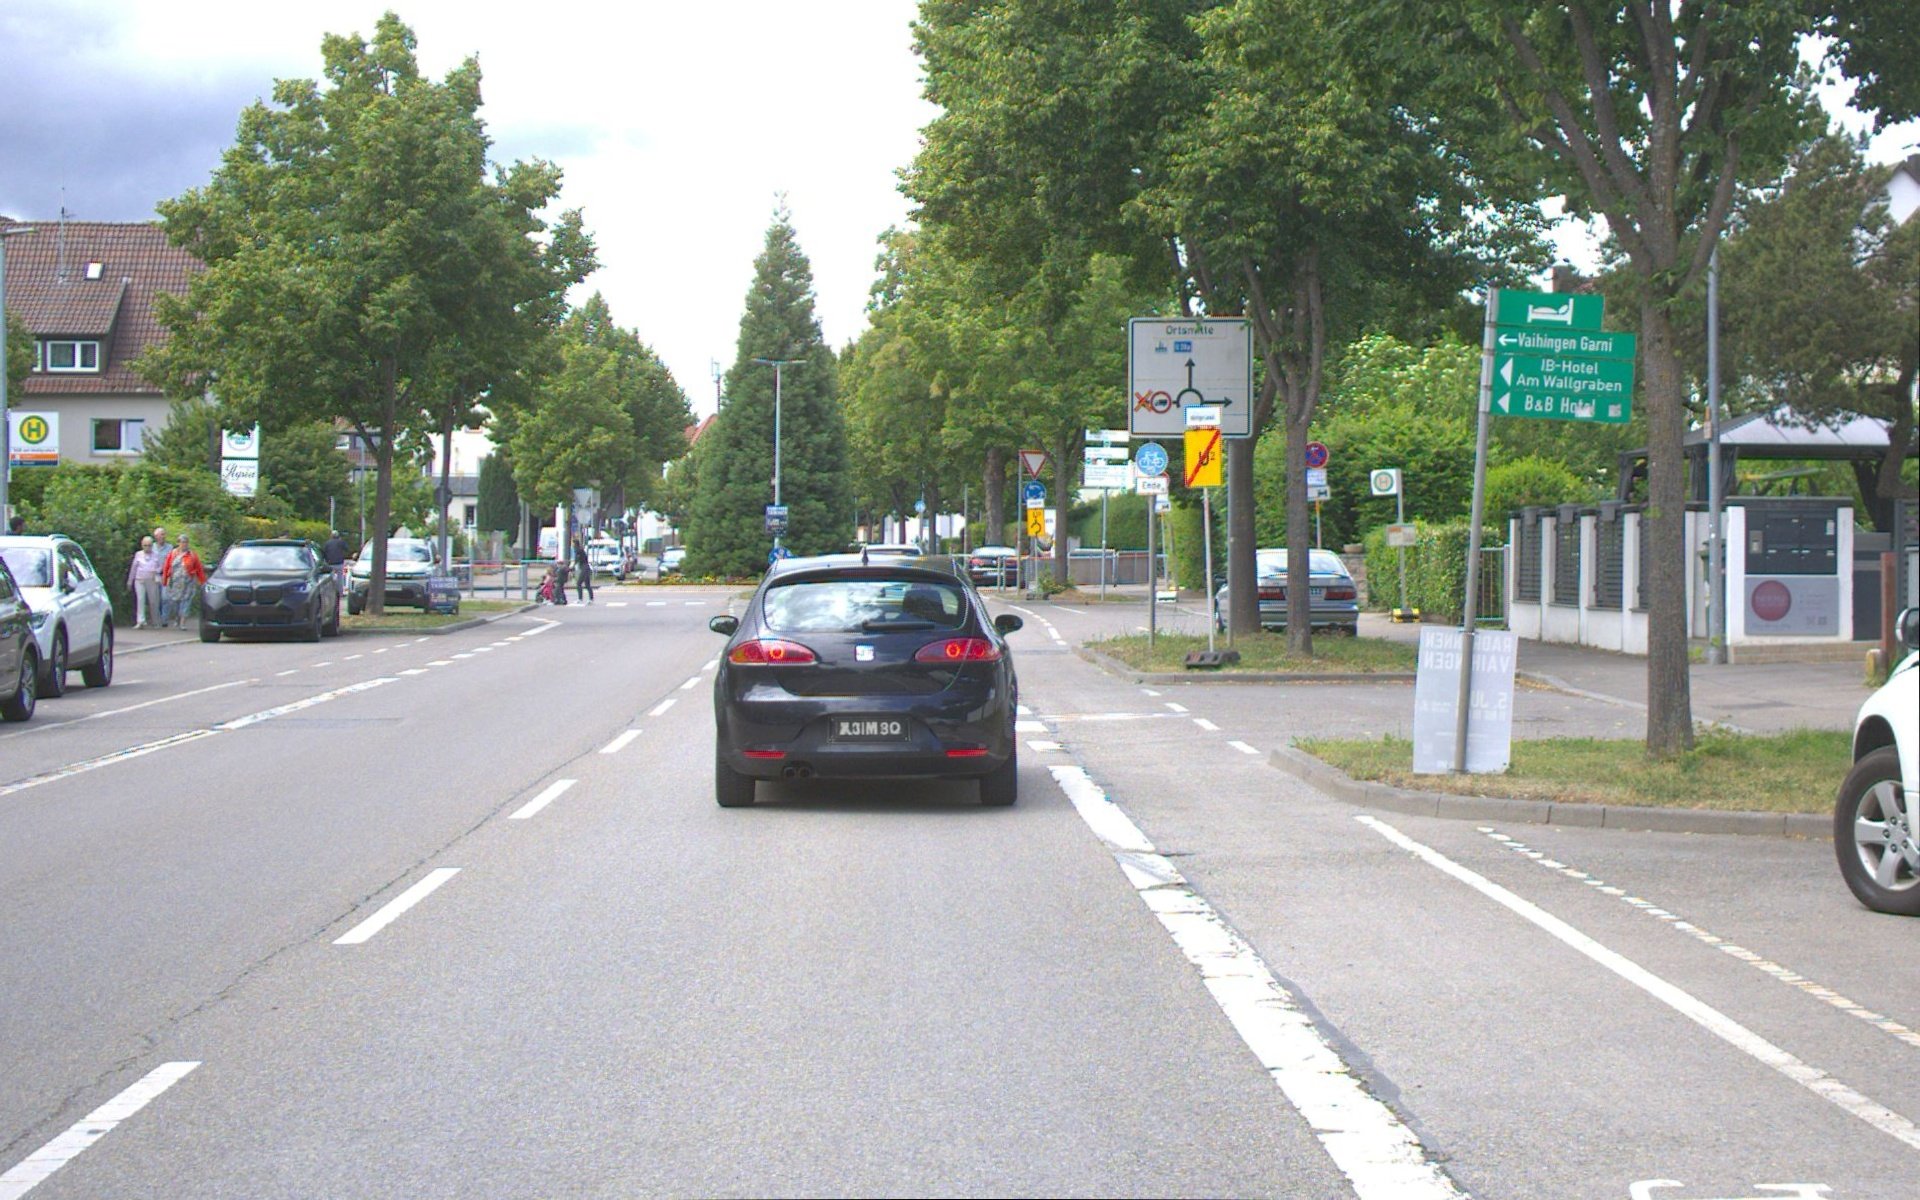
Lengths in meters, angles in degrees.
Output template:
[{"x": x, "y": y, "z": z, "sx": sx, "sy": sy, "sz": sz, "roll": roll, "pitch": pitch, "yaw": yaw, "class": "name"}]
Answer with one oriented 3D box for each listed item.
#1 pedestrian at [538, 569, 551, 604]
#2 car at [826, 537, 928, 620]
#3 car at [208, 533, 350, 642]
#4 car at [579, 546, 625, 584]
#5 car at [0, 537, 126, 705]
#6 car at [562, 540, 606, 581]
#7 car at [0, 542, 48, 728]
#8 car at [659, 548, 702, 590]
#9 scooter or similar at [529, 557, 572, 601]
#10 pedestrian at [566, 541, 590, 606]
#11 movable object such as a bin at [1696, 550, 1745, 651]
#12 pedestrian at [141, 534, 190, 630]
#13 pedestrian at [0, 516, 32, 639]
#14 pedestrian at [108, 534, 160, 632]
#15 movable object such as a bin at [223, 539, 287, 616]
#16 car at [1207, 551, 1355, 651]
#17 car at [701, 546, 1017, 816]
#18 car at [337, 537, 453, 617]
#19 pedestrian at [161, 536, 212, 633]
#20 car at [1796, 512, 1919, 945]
[{"x": -10.567, "y": -0.351, "z": 87.444, "sx": 0.238, "sy": 0.891, "sz": 0.260, "roll": 0, "pitch": 1, "yaw": -27, "class": "pedestrian"}, {"x": -1.650, "y": -0.455, "z": 69.507, "sx": 1.993, "sy": 1.607, "sz": 4.000, "roll": 0, "pitch": 1, "yaw": -1, "class": "car"}, {"x": -11.267, "y": -0.232, "z": 57.145, "sx": 1.724, "sy": 1.719, "sz": 4.565, "roll": 0, "pitch": 1, "yaw": -4, "class": "car"}, {"x": -15.692, "y": -1.545, "z": 150.914, "sx": 1.797, "sy": 1.596, "sz": 4.001, "roll": -1, "pitch": 1, "yaw": -3, "class": "car"}, {"x": -9.948, "y": 0.179, "z": 35.631, "sx": 1.820, "sy": 1.628, "sz": 4.587, "roll": -1, "pitch": 1, "yaw": -5, "class": "car"}, {"x": -18.478, "y": -1.949, "z": 168.949, "sx": 2.029, "sy": 1.964, "sz": 4.001, "roll": -1, "pitch": 1, "yaw": -4, "class": "car"}, {"x": -8.812, "y": 0.300, "z": 28.328, "sx": 1.677, "sy": 1.546, "sz": 4.273, "roll": 0, "pitch": 1, "yaw": -3, "class": "car"}, {"x": -10.973, "y": -1.230, "z": 135.166, "sx": 1.568, "sy": 1.628, "sz": 3.622, "roll": 0, "pitch": 1, "yaw": -3, "class": "car"}, {"x": -10.467, "y": -0.536, "z": 87.803, "sx": 0.966, "sy": 1.092, "sz": 0.407, "roll": 2, "pitch": 0, "yaw": -25, "class": "scooter or similar"}, {"x": -9.804, "y": -0.690, "z": 88.213, "sx": 0.514, "sy": 1.664, "sz": 0.483, "roll": 0, "pitch": 1, "yaw": -21, "class": "pedestrian"}, {"x": 8.389, "y": -0.002, "z": 37.935, "sx": 0.436, "sy": 1.106, "sz": 0.454, "roll": 0, "pitch": 1, "yaw": 0, "class": "movable object such as a bin"}, {"x": -13.841, "y": -0.313, "z": 59.905, "sx": 0.786, "sy": 1.658, "sz": 0.592, "roll": 0, "pitch": 1, "yaw": -9, "class": "pedestrian"}, {"x": -14.023, "y": -0.331, "z": 50.725, "sx": 0.503, "sy": 1.800, "sz": 0.671, "roll": 0, "pitch": 1, "yaw": -2, "class": "pedestrian"}, {"x": -14.040, "y": -0.290, "z": 58.442, "sx": 0.786, "sy": 1.658, "sz": 0.882, "roll": 0, "pitch": 1, "yaw": -9, "class": "pedestrian"}, {"x": -15.590, "y": -0.494, "z": 76.017, "sx": 1.205, "sy": 1.645, "sz": 0.998, "roll": 2, "pitch": 0, "yaw": -4, "class": "movable object such as a bin"}, {"x": 4.574, "y": 0.032, "z": 49.528, "sx": 1.611, "sy": 1.372, "sz": 4.387, "roll": 0, "pitch": 0, "yaw": -1, "class": "car"}, {"x": -0.525, "y": 0.418, "z": 20.854, "sx": 1.732, "sy": 1.481, "sz": 4.000, "roll": 0, "pitch": 1, "yaw": 1, "class": "car"}, {"x": -12.052, "y": -0.514, "z": 73.575, "sx": 1.860, "sy": 1.648, "sz": 4.294, "roll": 0, "pitch": 1, "yaw": -1, "class": "car"}, {"x": -13.277, "y": -0.264, "z": 59.033, "sx": 0.786, "sy": 1.658, "sz": 0.754, "roll": 0, "pitch": 1, "yaw": -9, "class": "pedestrian"}, {"x": 4.590, "y": 0.487, "z": 12.663, "sx": 1.900, "sy": 1.637, "sz": 4.117, "roll": 0, "pitch": 0, "yaw": -2, "class": "car"}]
